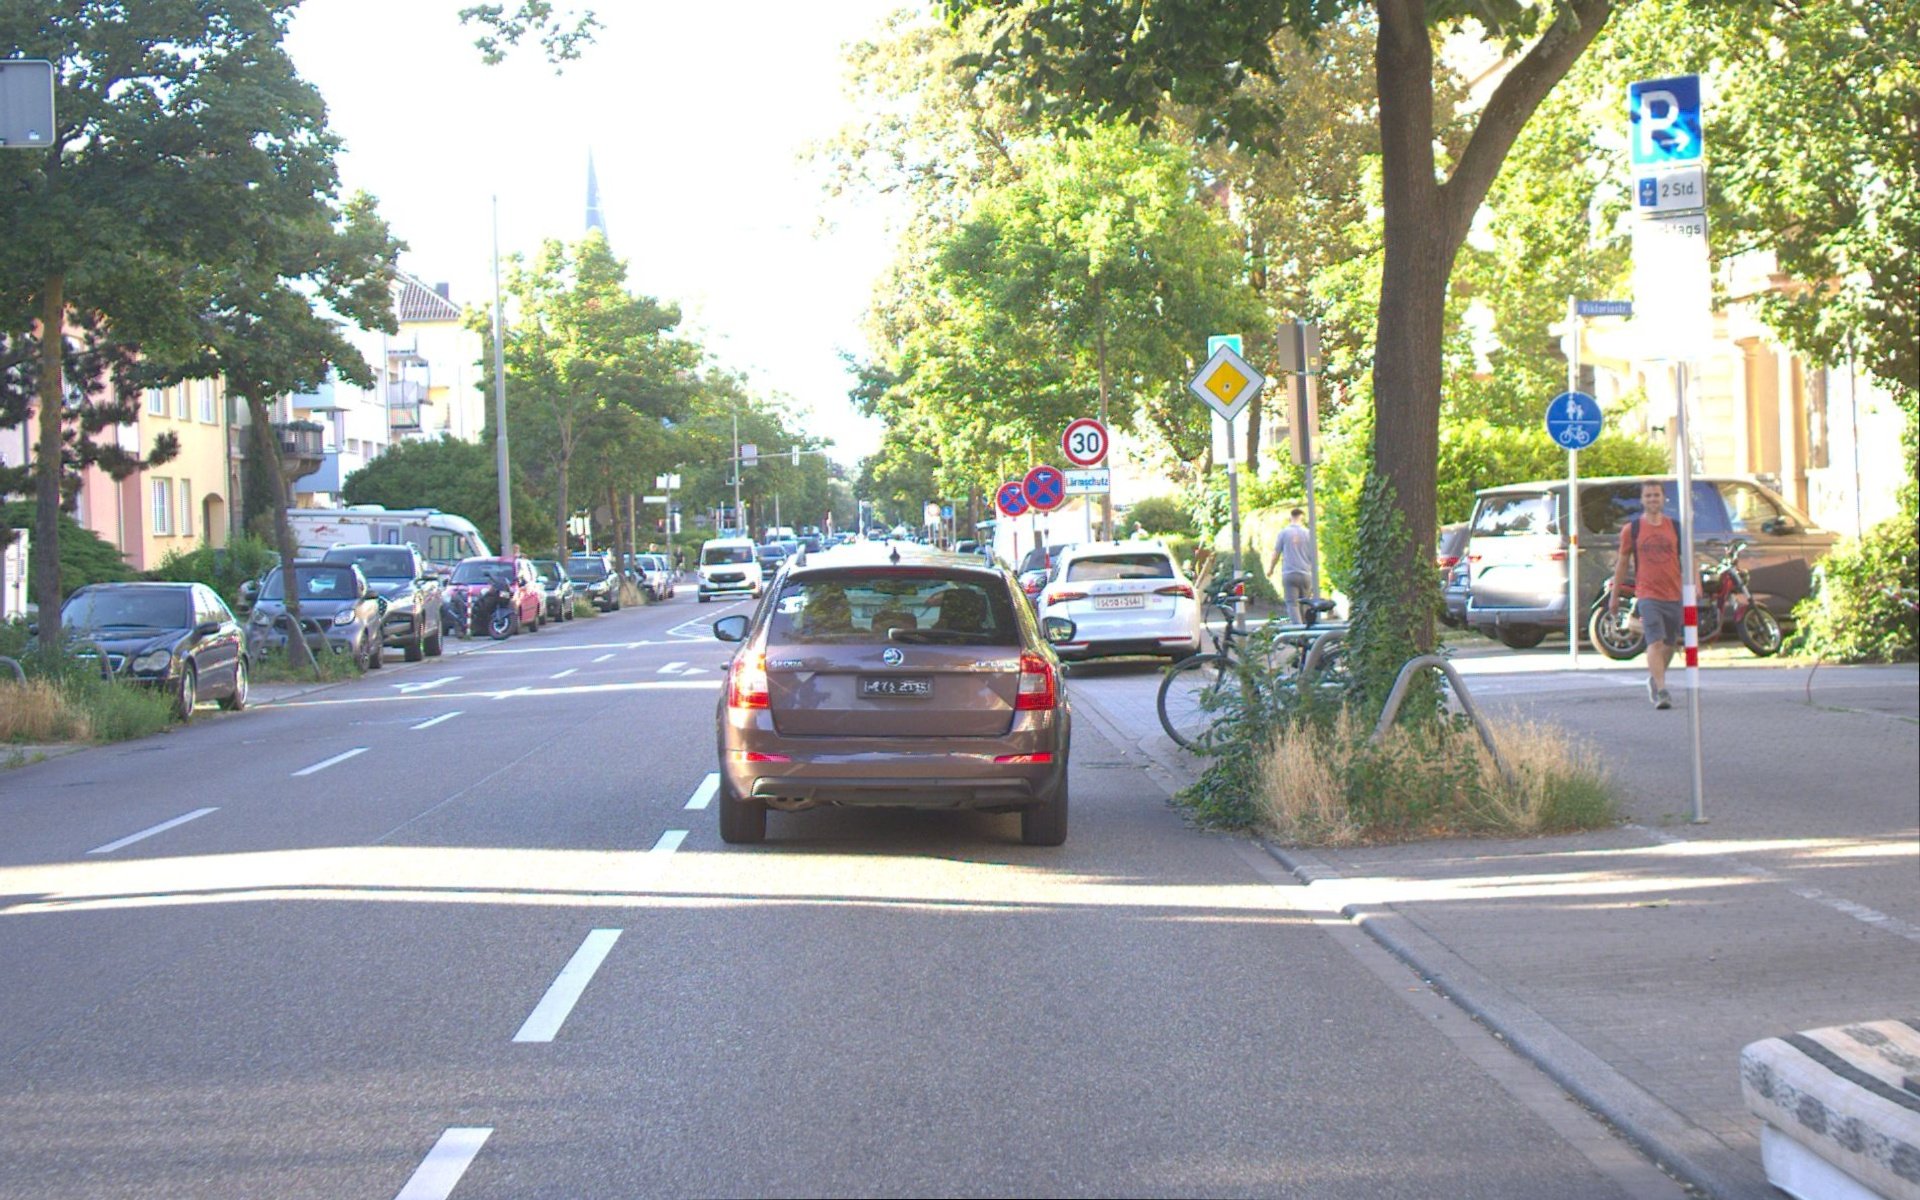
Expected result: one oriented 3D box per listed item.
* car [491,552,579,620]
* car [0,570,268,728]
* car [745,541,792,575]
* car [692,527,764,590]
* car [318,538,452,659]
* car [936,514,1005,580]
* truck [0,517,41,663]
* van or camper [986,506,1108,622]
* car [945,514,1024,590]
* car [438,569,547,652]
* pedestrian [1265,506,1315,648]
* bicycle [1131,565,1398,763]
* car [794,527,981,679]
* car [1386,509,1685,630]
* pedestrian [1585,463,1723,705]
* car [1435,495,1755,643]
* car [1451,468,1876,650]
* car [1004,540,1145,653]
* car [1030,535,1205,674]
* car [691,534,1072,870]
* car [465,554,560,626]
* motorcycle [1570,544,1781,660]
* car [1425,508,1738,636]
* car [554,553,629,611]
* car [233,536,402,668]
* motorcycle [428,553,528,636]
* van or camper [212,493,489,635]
[{"bbox_3d":[-9.751,-0.337,79.090,1.664,1.427,3.275,-2,1,-1],"label":"car"},{"bbox_3d":[-8.506,0.458,35.654,1.754,1.415,4.426,-2,2,0],"label":"car"},{"bbox_3d":[-8.804,-1.933,158.194,1.993,1.503,4.000,-2,1,-1],"label":"car"},{"bbox_3d":[-6.808,-1.236,101.206,1.876,1.751,4.179,-2,1,-1],"label":"car"},{"bbox_3d":[-8.925,-0.052,53.567,1.507,1.751,3.694,-2,1,-1],"label":"car"},{"bbox_3d":[0.284,-1.555,98.785,1.729,1.809,3.951,-2,1,-3],"label":"car"},{"bbox_3d":[-15.110,-0.127,50.190,2.913,2.086,1.546,-2,1,-1],"label":"truck"},{"bbox_3d":[1.561,-0.692,63.015,1.993,2.006,4.001,-2,1,-1],"label":"van or camper"},{"bbox_3d":[0.601,-1.232,86.298,1.729,1.809,3.951,-2,1,-3],"label":"car"},{"bbox_3d":[-9.336,0.180,68.869,1.664,1.506,4.179,-2,1,-1],"label":"car"},{"bbox_3d":[4.215,-0.298,43.951,0.535,1.788,0.687,-2,1,1],"label":"pedestrian"},{"bbox_3d":[2.075,0.429,23.374,1.671,1.222,0.635,-4,1,12],"label":"bicycle"},{"bbox_3d":[-0.831,-0.016,37.030,1.729,1.488,3.951,-2,1,-5],"label":"car"},{"bbox_3d":[7.918,-0.433,47.273,3.799,1.520,1.512,-2,1,-23],"label":"car"},{"bbox_3d":[5.273,-0.128,26.171,0.755,1.790,0.906,-2,1,-6],"label":"pedestrian"},{"bbox_3d":[7.872,-0.407,42.533,3.800,1.673,1.512,-2,2,-30],"label":"car"},{"bbox_3d":[8.029,-0.491,39.150,4.533,1.886,1.915,-2,1,-28],"label":"car"},{"bbox_3d":[1.543,-0.087,47.606,1.821,1.408,4.111,-2,1,1],"label":"car"},{"bbox_3d":[1.743,0.010,39.122,1.821,1.408,4.111,-2,1,1],"label":"car"},{"bbox_3d":[-0.377,0.436,17.938,1.729,1.488,3.951,-2,1,0],"label":"car"},{"bbox_3d":[-9.678,-0.235,74.547,1.664,1.427,3.275,-2,1,-1],"label":"car"},{"bbox_3d":[7.395,0.015,35.567,2.051,1.121,0.525,-2,1,-6],"label":"motorcycle"},{"bbox_3d":[8.170,-0.383,45.154,3.799,1.520,1.512,-2,1,-23],"label":"car"},{"bbox_3d":[-9.701,-0.493,90.781,1.664,1.427,3.275,-2,1,-1],"label":"car"},{"bbox_3d":[-9.099,-0.001,48.898,1.750,1.734,3.591,-2,1,-1],"label":"car"},{"bbox_3d":[-8.971,-0.104,63.915,0.764,1.506,2.029,-3,2,-44],"label":"motorcycle"},{"bbox_3d":[-17.683,-1.069,99.972,7.639,3.861,2.000,-2,1,-3],"label":"van or camper"}]
